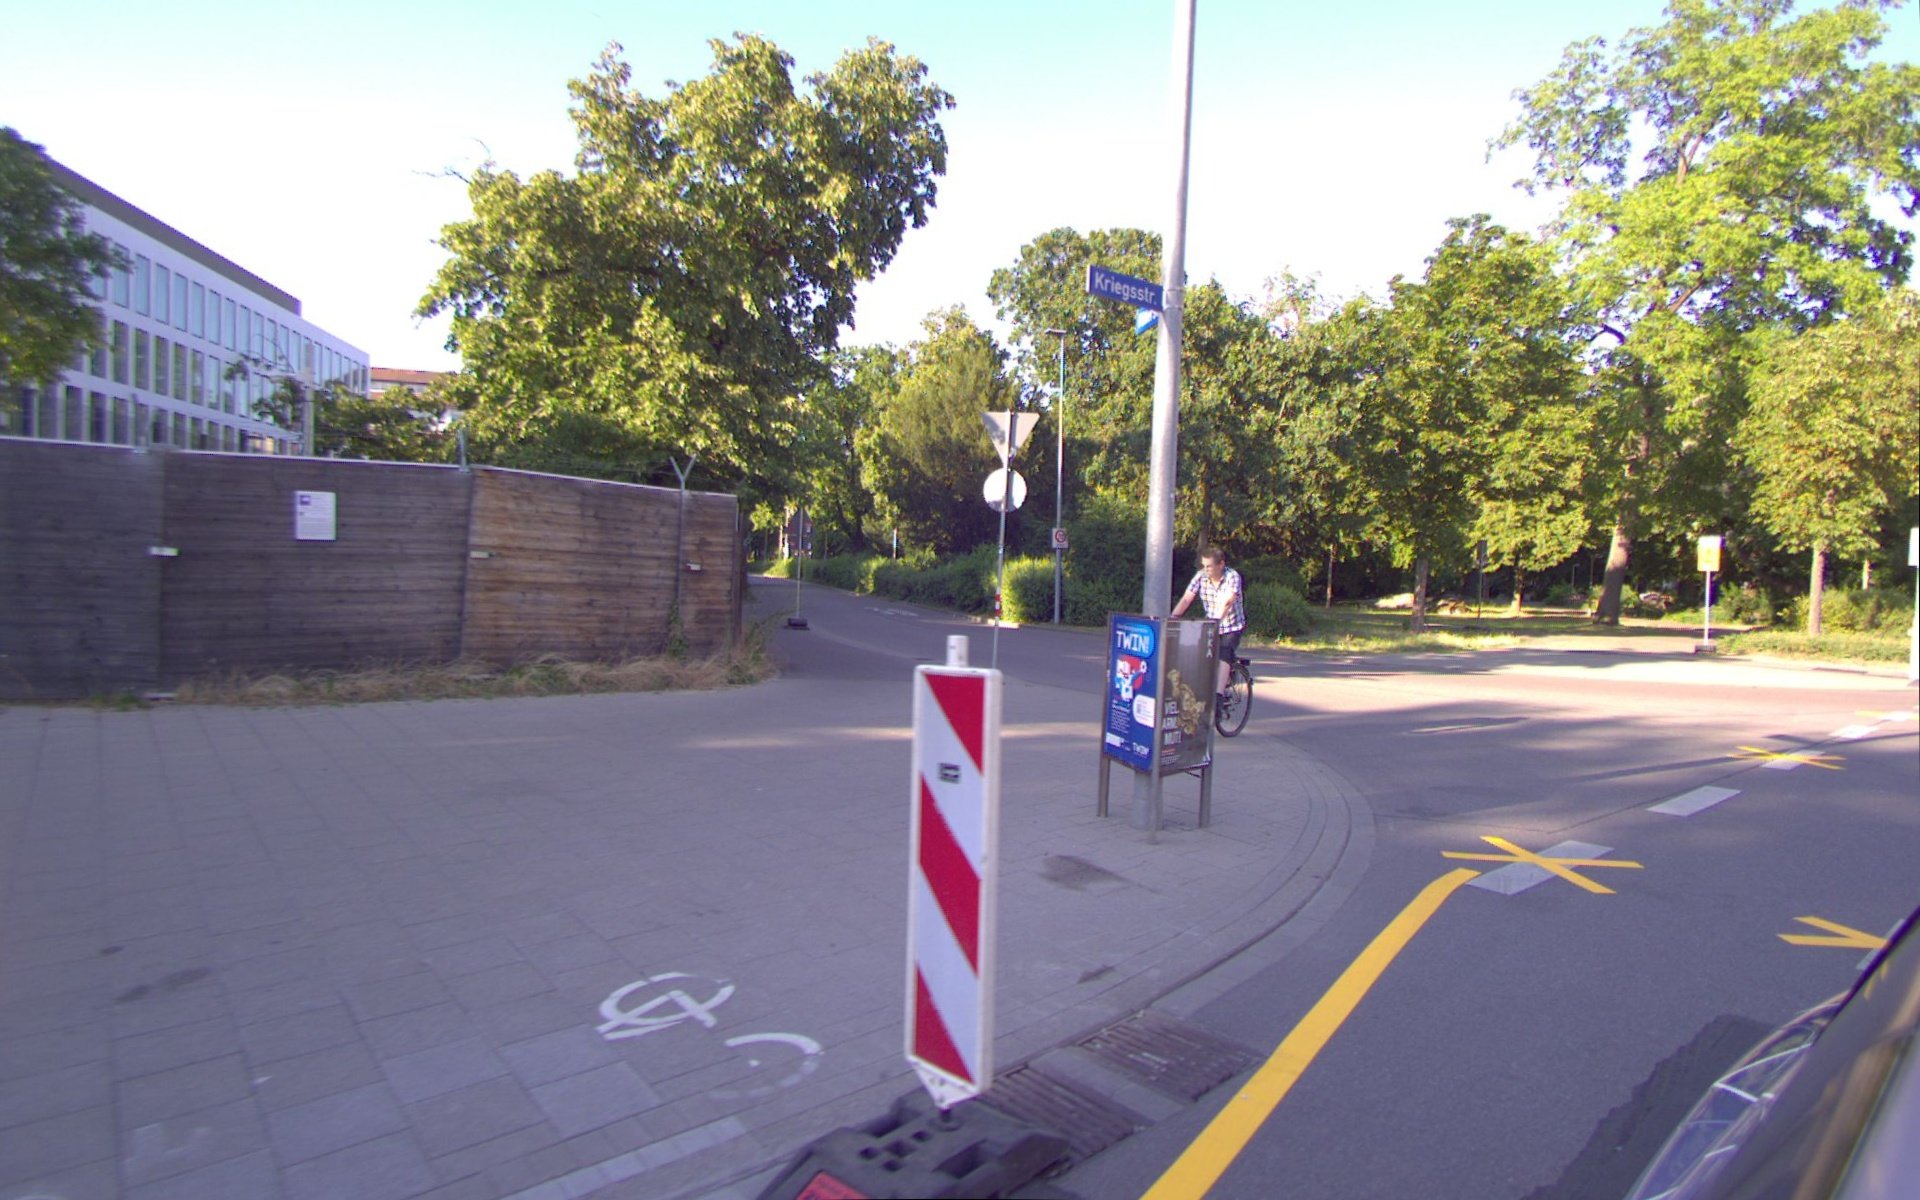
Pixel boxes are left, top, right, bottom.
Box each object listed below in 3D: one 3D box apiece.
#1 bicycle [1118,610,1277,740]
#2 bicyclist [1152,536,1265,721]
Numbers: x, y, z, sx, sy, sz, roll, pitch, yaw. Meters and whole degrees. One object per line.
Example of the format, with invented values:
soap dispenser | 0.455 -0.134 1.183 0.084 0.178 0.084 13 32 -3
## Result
bicycle | 2.269 0.653 9.508 1.878 1.074 0.428 0 2 -42
bicyclist | 2.324 0.234 9.446 0.888 1.634 0.585 0 2 -42
